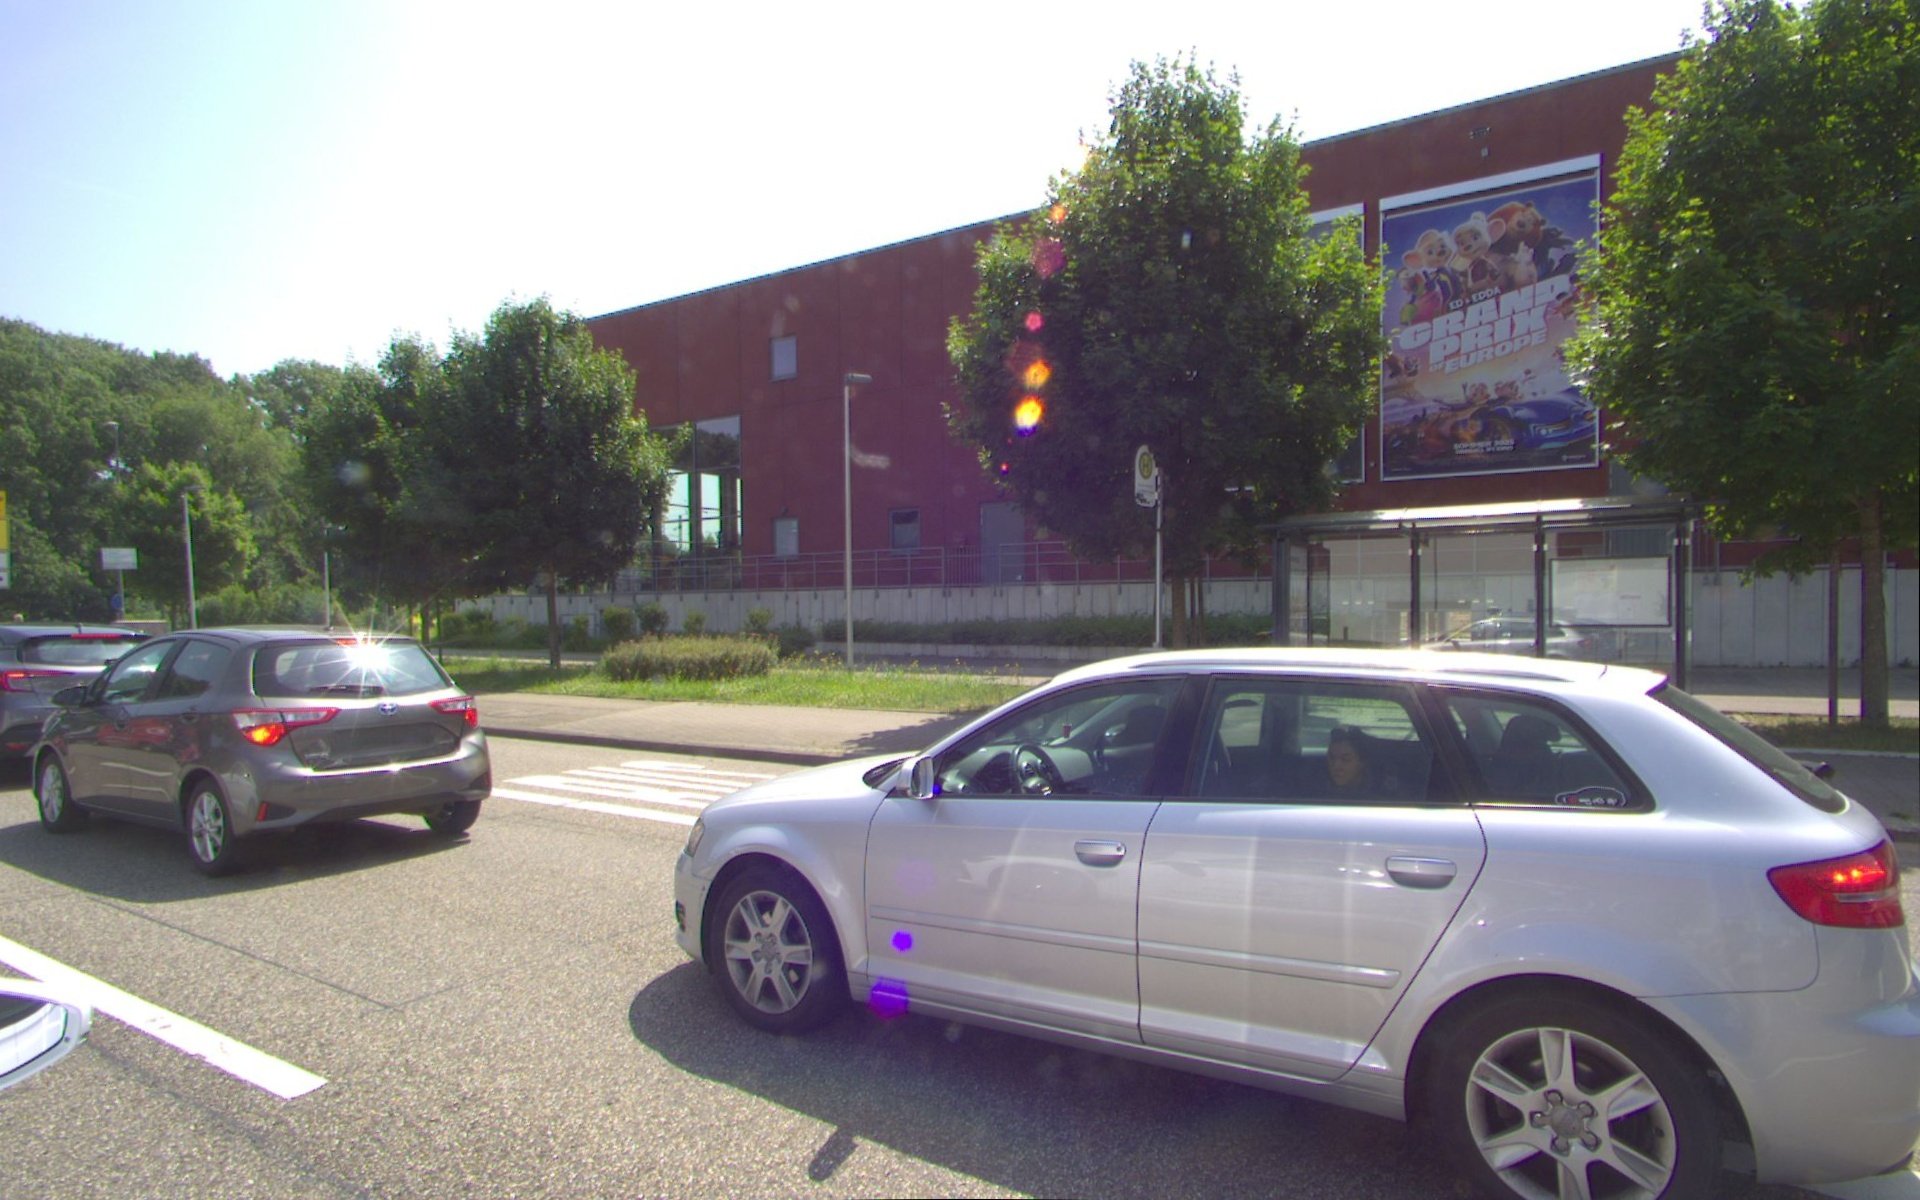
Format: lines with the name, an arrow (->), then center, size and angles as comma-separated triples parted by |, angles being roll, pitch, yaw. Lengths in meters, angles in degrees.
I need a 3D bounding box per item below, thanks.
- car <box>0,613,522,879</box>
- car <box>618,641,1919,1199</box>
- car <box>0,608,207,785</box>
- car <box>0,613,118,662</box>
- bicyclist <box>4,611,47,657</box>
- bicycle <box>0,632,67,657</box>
car -> -5.308, 0.900, 7.436 | 4.031, 1.496, 1.711 | -1, -4, 31
car -> 0.790, 0.858, 3.735 | 4.031, 1.379, 1.710 | -1, -2, 31
car -> -10.090, 0.920, 10.846 | 4.031, 1.614, 1.709 | -1, -1, 31
car -> -41.385, 1.670, 45.783 | 1.972, 2.040, 3.978 | 0, 0, 32
bicyclist -> -30.378, 1.085, 32.559 | 0.814, 1.458, 0.598 | -1, 1, -14
bicycle -> -30.312, 1.441, 32.580 | 1.794, 0.776, 0.600 | -1, 1, -14
